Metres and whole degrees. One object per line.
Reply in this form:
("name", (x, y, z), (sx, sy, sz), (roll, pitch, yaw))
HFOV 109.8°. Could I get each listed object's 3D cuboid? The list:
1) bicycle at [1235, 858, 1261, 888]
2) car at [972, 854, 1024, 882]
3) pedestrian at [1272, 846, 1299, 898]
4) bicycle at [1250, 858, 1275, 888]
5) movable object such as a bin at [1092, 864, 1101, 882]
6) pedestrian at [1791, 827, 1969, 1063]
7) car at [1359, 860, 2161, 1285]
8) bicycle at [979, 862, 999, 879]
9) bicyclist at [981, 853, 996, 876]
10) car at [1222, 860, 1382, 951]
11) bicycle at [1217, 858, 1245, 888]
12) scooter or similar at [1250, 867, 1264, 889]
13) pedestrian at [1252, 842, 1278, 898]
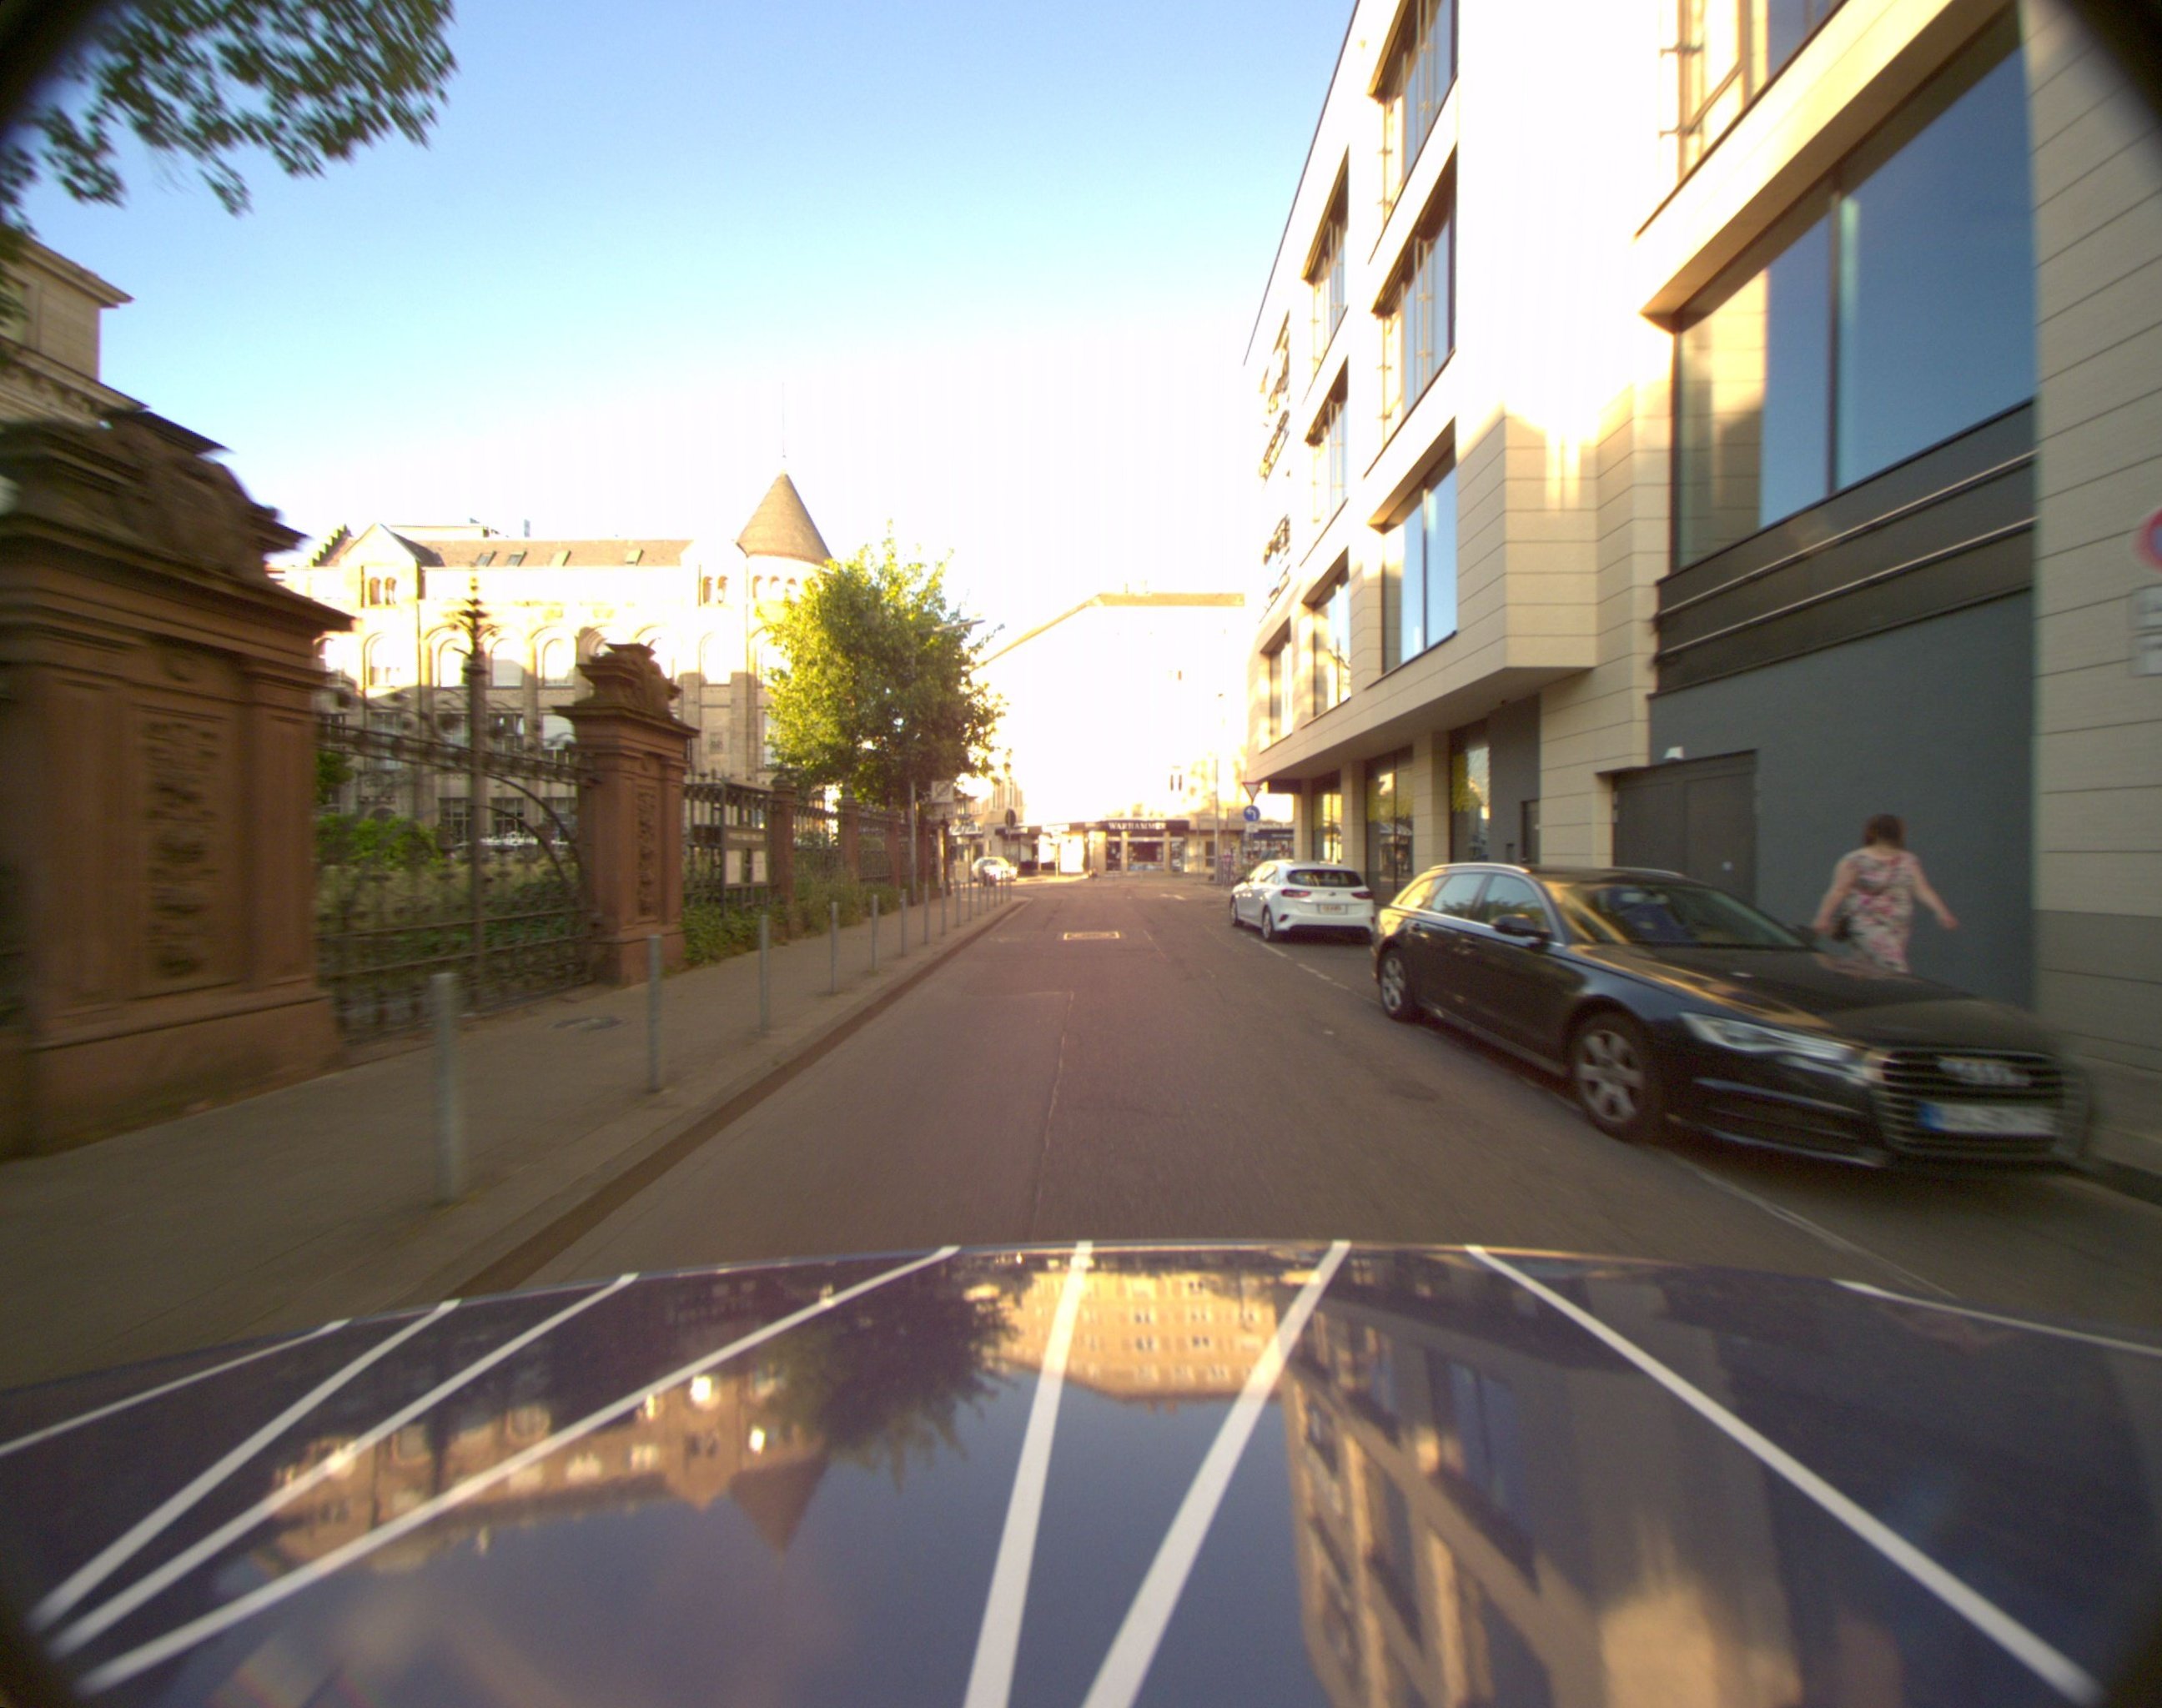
("bicycle", (7.310, 0.819, 33.327), (0.582, 1.247, 2.043), (-1, 1, -3))
("car", (-4.699, 0.748, 42.538), (2.001, 1.414, 4.451), (-1, 0, -18))
("pedestrian", (6.671, 0.577, 24.797), (0.674, 1.665, 0.647), (-1, 1, -2))
("bicycle", (7.947, 0.817, 33.398), (0.513, 1.248, 1.978), (-1, 1, -3))
("movable object such as a bin", (0.907, 1.101, 44.753), (0.361, 1.057, 0.355), (-1, 1, -41))
("pedestrian", (6.149, 0.666, 5.887), (0.673, 1.734, 0.647), (0, 1, 1))
("car", (3.704, 0.875, 5.295), (1.888, 1.588, 4.689), (0, 0, 1))
("bicycle", (-6.454, 1.129, 53.162), (0.667, 1.132, 1.817), (-2, 1, -34))
("bicyclist", (-6.473, 0.751, 53.220), (0.661, 1.561, 0.861), (-2, 2, -33))
("car", (4.023, 0.860, 14.589), (1.782, 1.444, 4.230), (0, 0, -1))
("bicycle", (6.543, 0.806, 33.251), (0.666, 1.247, 2.140), (-1, 1, -3))
("scooter or similar", (7.387, 0.991, 31.890), (0.387, 0.879, 0.770), (-1, 1, -1))
("pedestrian", (5.986, 0.514, 24.783), (0.674, 1.826, 0.647), (-1, 1, -2))
